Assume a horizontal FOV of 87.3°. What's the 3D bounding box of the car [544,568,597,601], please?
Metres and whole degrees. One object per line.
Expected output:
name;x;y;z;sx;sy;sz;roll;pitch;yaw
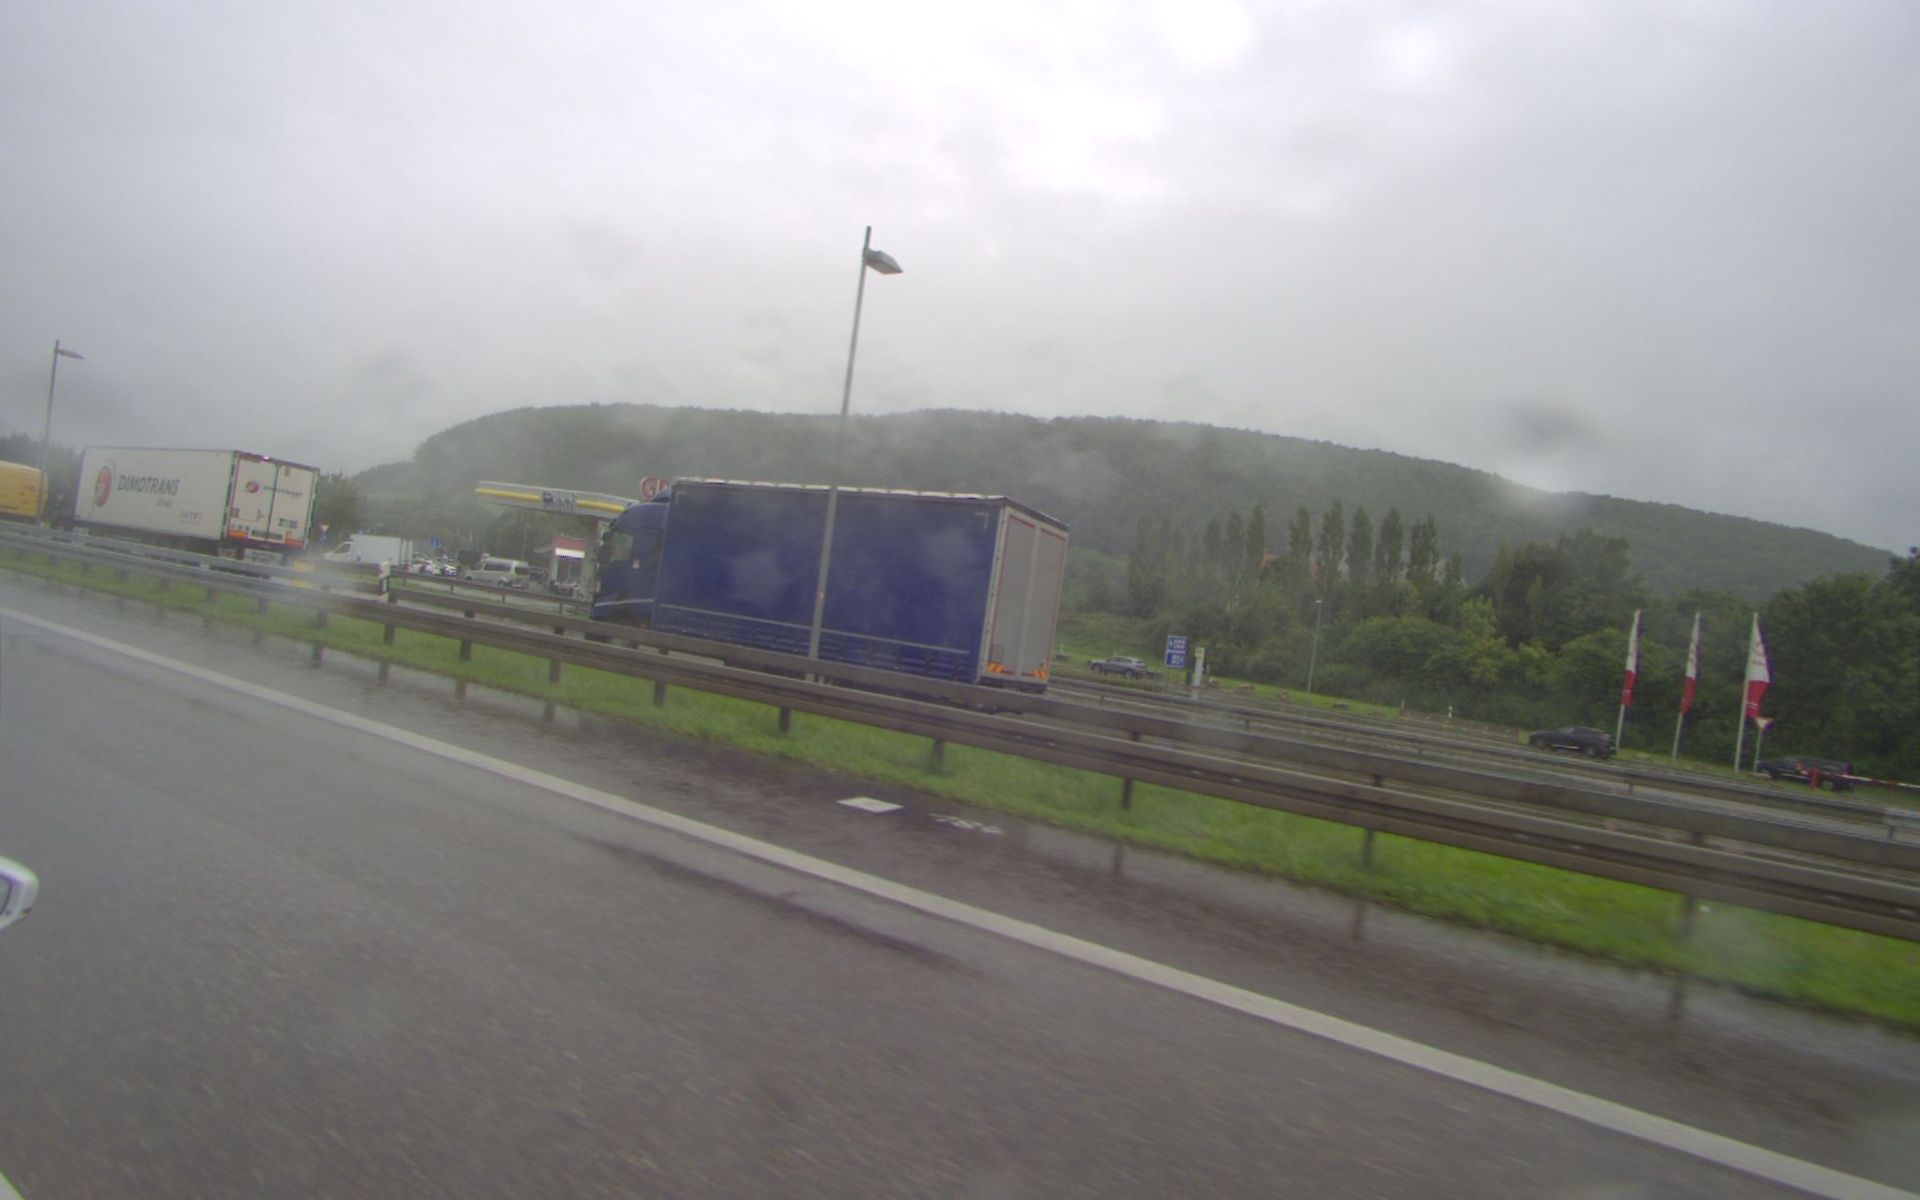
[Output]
car;-30.594;-1.217;79.008;3.941;2.036;1.995;6;-3;39

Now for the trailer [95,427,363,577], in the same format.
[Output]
trailer;-26.618;-3.666;36.327;11.727;4.310;3.522;6;-2;33

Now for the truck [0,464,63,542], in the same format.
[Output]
truck;-46.310;-4.799;48.437;8.722;3.183;2.294;6;-2;34

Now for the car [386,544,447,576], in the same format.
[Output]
car;-45.079;-3.271;83.472;3.940;2.037;1.994;8;-1;-17

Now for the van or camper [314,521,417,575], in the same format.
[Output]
van or camper;-44.487;-3.864;75.362;6.062;3.094;2.000;8;-1;-3

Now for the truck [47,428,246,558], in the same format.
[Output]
truck;-32.522;-4.308;40.154;7.688;4.268;3.534;6;-2;33

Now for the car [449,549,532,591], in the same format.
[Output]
car;-34.829;-2.210;74.621;5.349;2.335;2.002;7;-2;16

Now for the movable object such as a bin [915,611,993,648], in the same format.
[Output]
movable object such as a bin;-0.467;2.183;74.395;5.294;2.037;2.171;6;-2;31

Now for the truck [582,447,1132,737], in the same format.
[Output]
truck;-2.483;-0.386;20.402;10.867;4.452;3.408;7;-2;33
